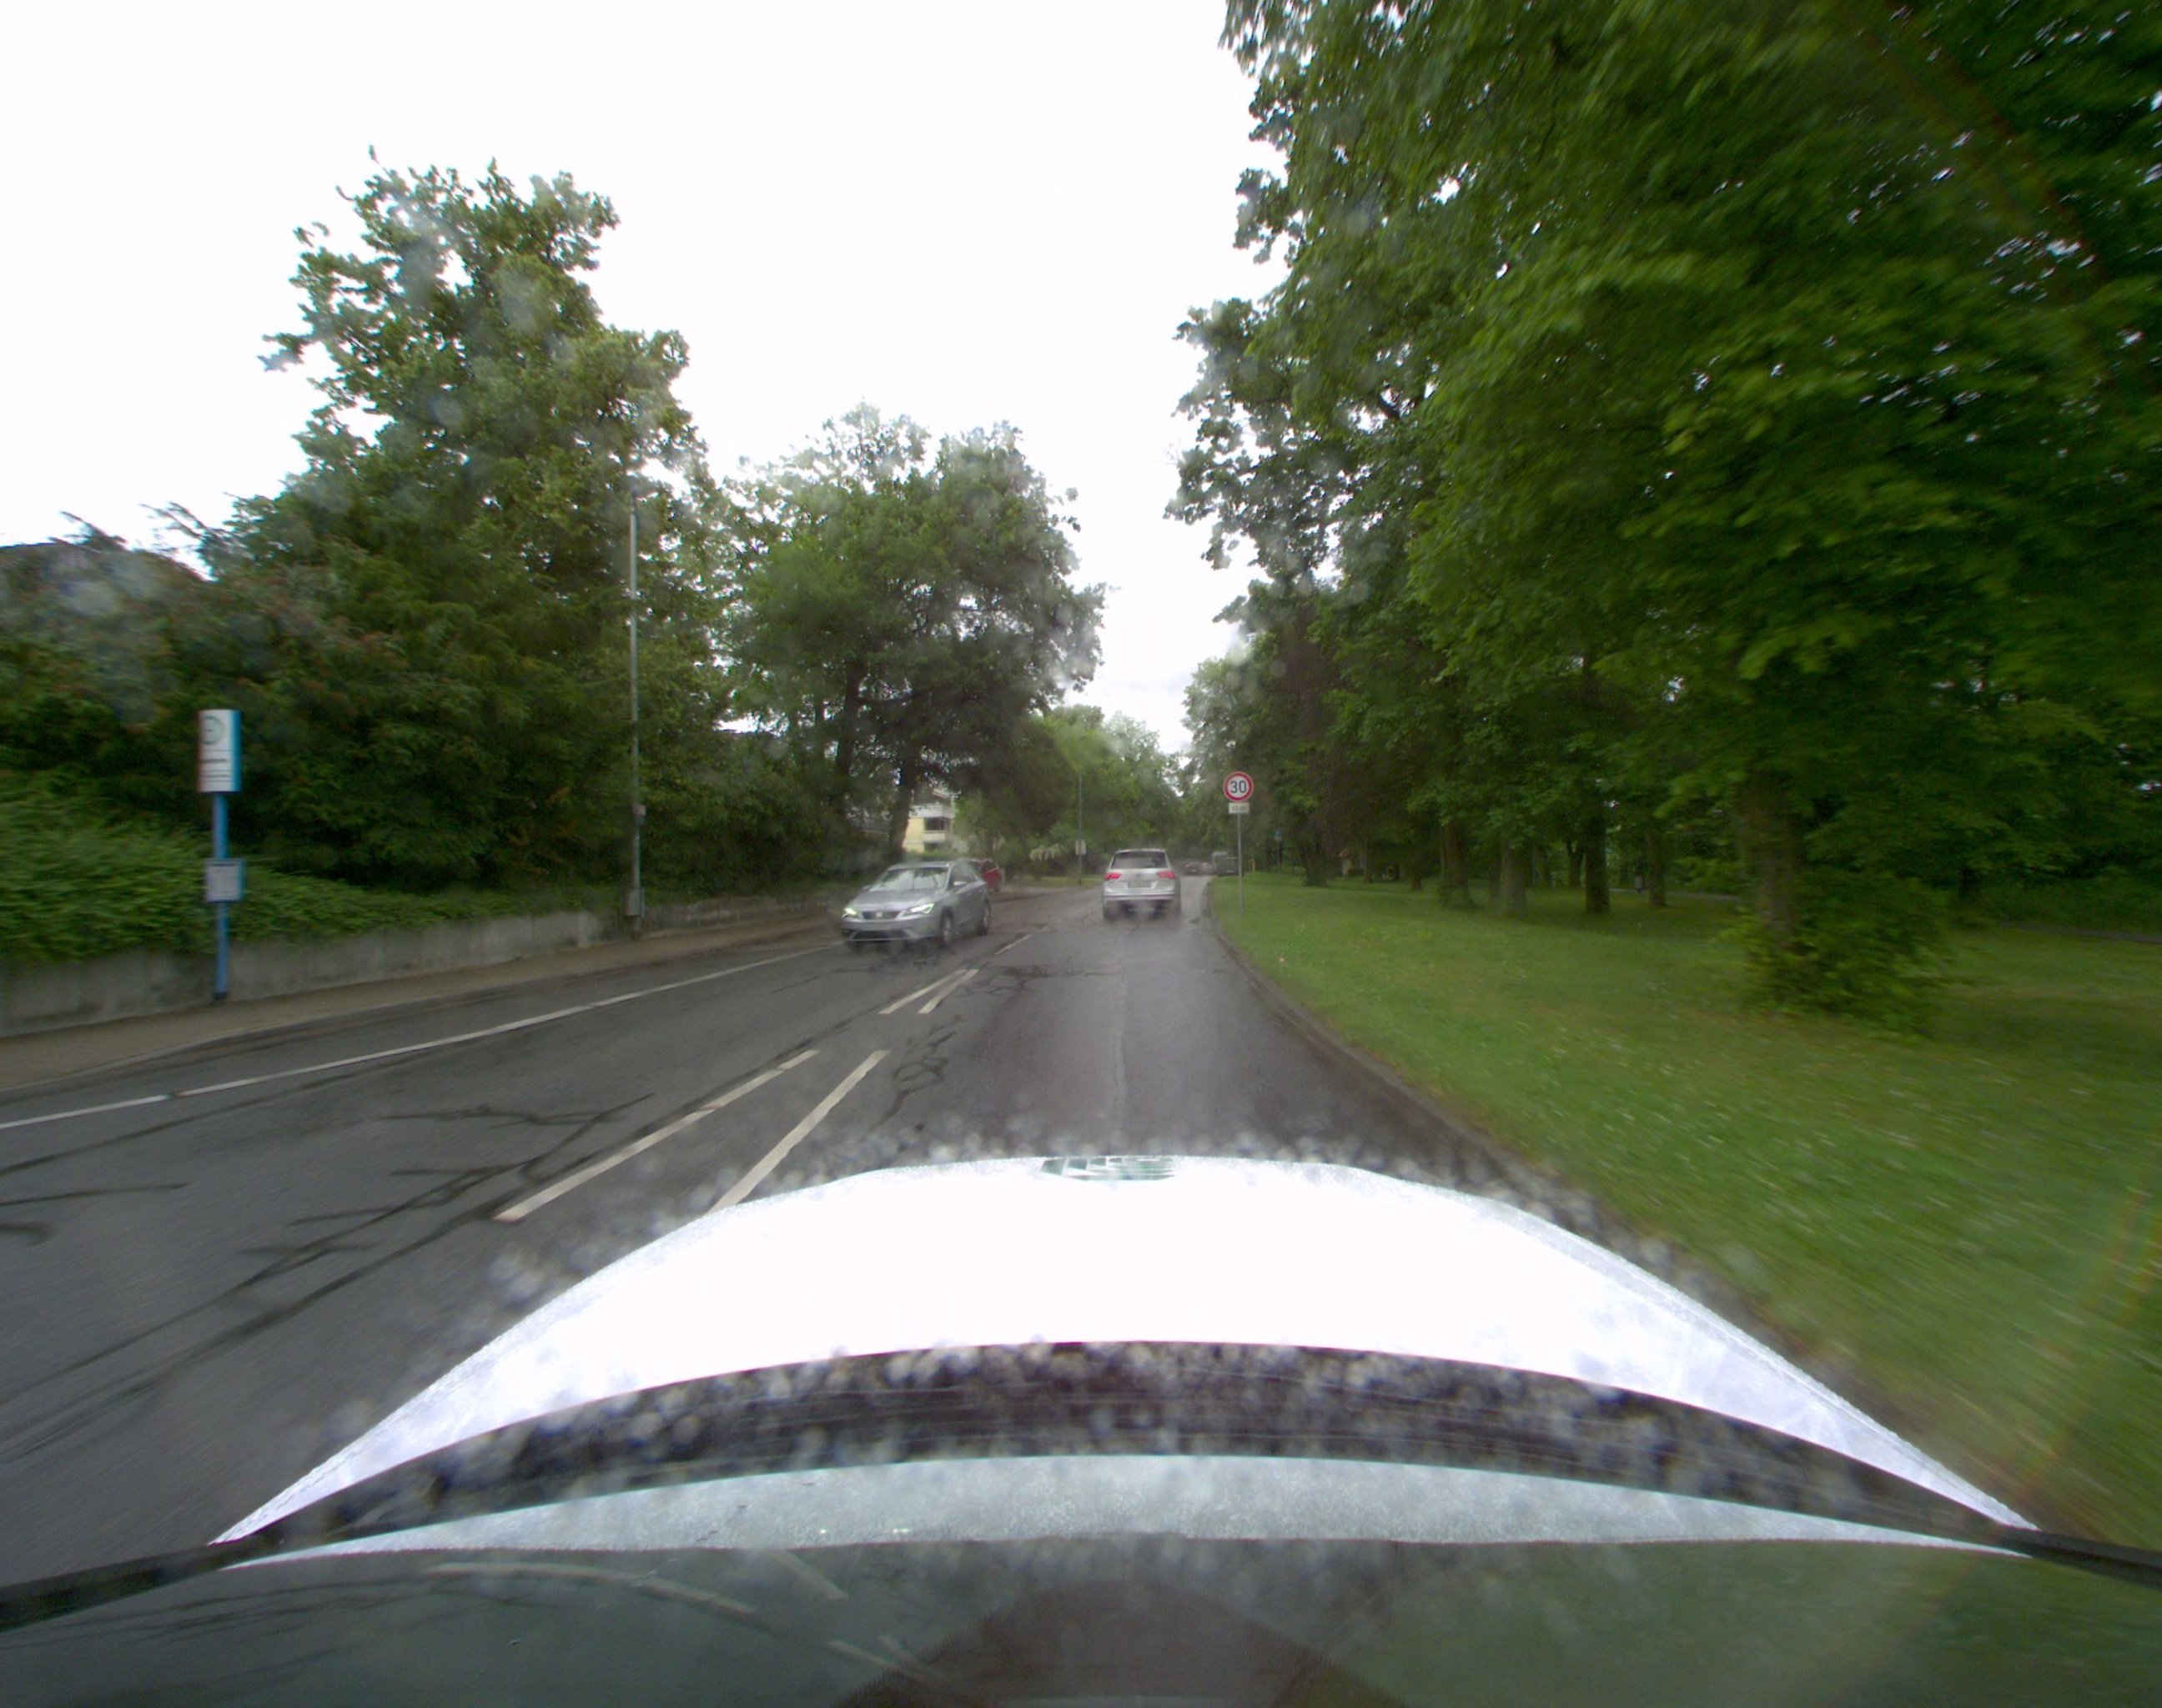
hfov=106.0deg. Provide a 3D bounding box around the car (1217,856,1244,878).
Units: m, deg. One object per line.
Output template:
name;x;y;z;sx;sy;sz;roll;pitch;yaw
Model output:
car;10.397;0.904;56.684;1.690;1.462;4.229;-3;-1;10

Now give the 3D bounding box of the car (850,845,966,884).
car;-9.837;0.584;46.770;5.717;2.038;3.483;1;0;4

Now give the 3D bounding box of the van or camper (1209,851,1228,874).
van or camper;16.217;1.000;95.448;2.003;2.583;8.460;0;-1;11

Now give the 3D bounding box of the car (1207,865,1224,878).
car;16.827;2.219;101.999;1.796;1.539;4.274;-3;-2;6

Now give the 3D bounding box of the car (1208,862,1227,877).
car;14.605;1.690;86.807;1.853;1.511;3.735;-2;-1;11

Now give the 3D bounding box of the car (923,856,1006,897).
car;-4.786;0.897;34.076;1.979;1.516;4.016;1;1;14

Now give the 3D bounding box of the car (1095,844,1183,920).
car;1.556;0.646;20.362;1.895;1.685;4.209;-1;0;7

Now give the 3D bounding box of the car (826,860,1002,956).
car;-2.910;0.890;15.235;1.780;1.422;4.369;-3;0;8
